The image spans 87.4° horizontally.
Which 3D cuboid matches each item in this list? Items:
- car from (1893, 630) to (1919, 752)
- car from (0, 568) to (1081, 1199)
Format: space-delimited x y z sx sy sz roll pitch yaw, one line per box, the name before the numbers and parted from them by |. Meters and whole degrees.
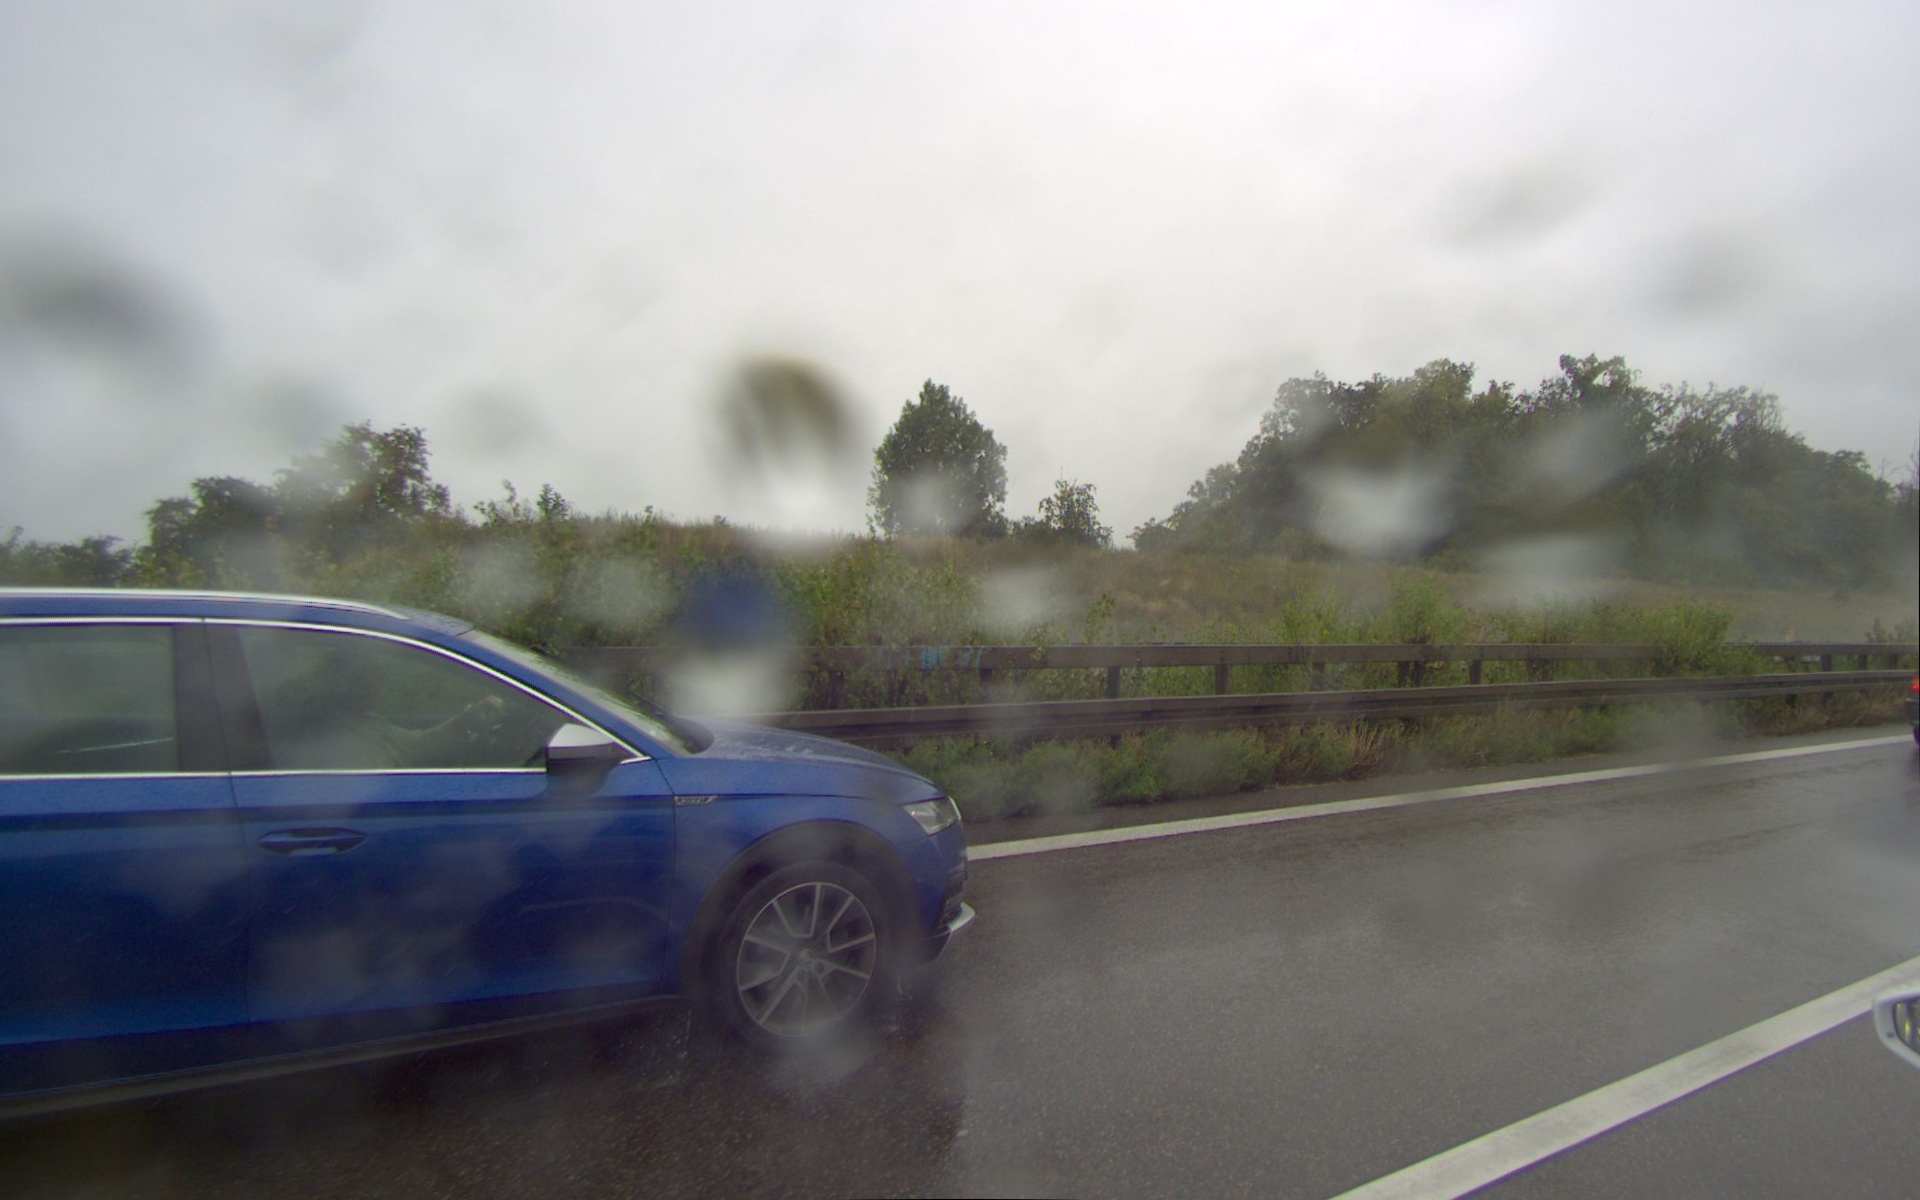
car | 13.400 1.127 12.313 4.179 1.418 1.710 2 -1 -30
car | -1.919 0.689 3.356 4.459 1.496 1.777 1 0 -30
